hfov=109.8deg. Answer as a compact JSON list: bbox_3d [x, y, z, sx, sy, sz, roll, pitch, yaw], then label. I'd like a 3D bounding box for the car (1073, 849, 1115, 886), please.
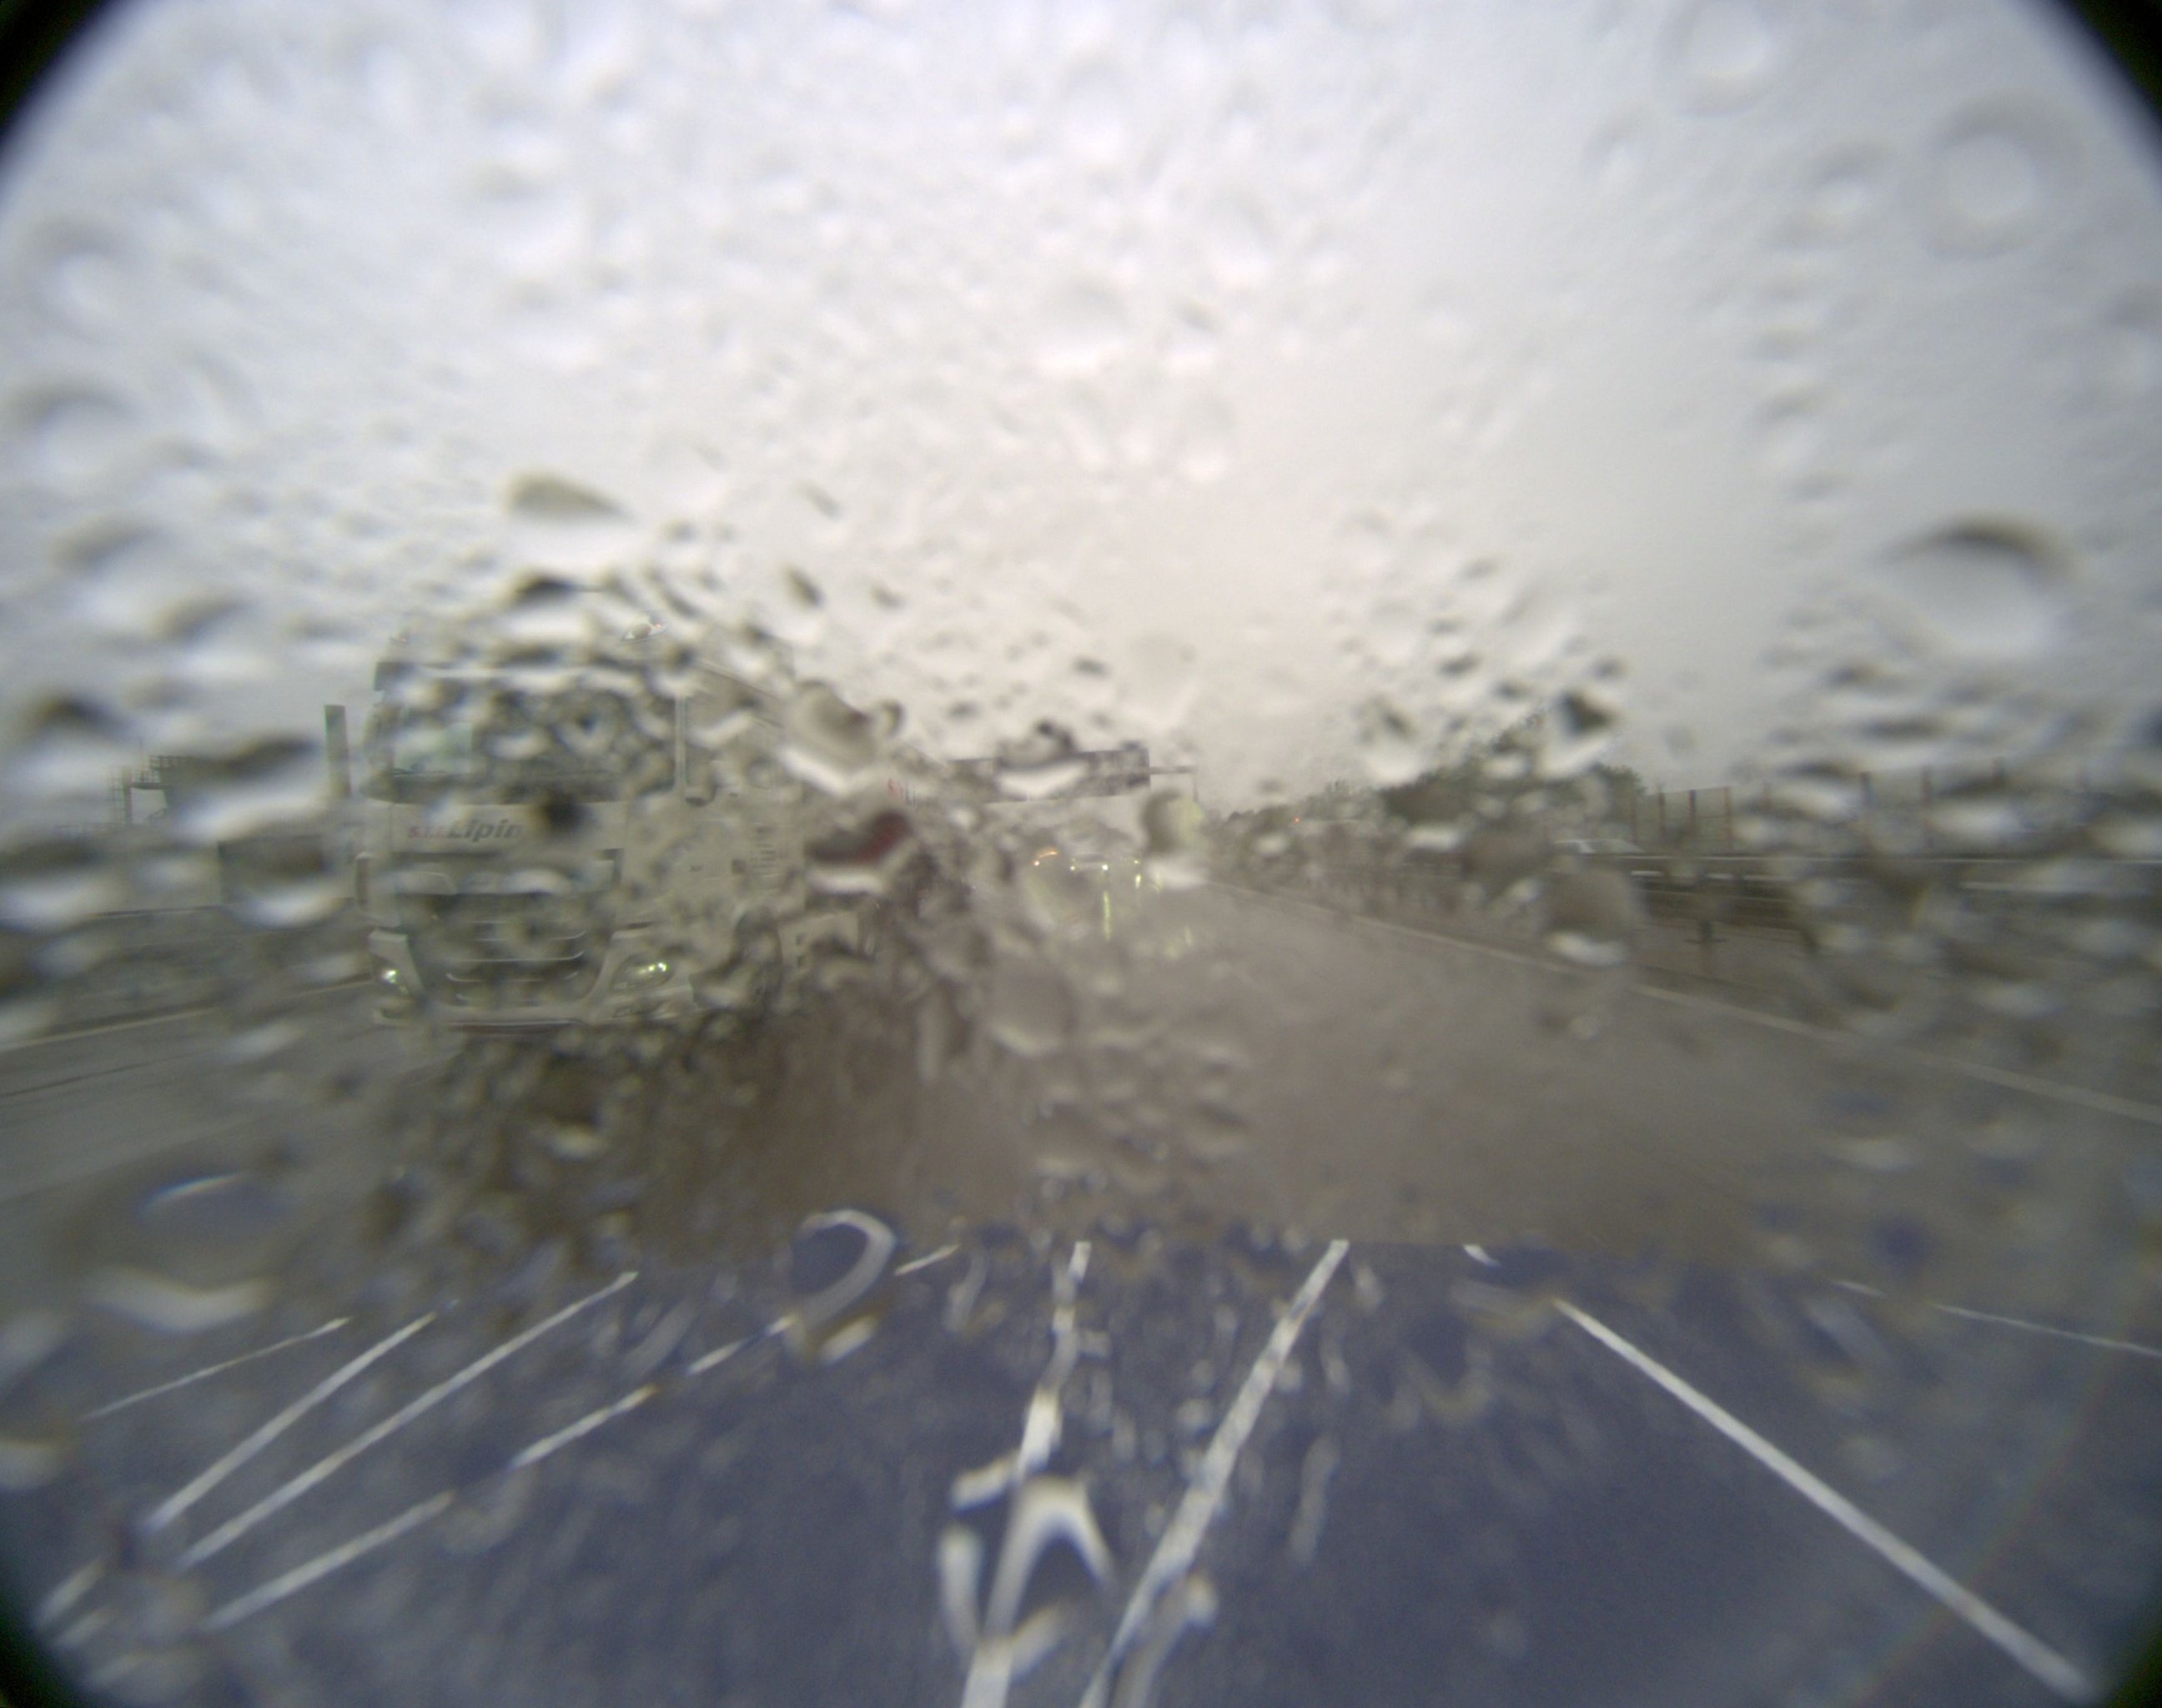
[{"bbox_3d":[0.658,0.596,35.901,1.751,1.545,4.090,-3,0,2],"label":"car"}]

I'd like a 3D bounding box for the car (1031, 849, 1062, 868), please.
[{"bbox_3d":[-3.423,0.438,75.904,2.463,1.736,5.720,-2,0,3],"label":"car"}]

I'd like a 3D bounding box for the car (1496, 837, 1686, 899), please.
[{"bbox_3d":[13.938,0.320,21.196,1.989,1.463,4.724,-2,1,-2],"label":"car"}]

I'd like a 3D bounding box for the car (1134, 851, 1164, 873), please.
[{"bbox_3d":[5.134,0.554,57.903,1.900,1.533,4.090,-2,0,0],"label":"car"}]

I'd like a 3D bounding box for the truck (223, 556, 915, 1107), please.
[{"bbox_3d":[-4.392,-0.173,8.972,3.112,3.784,7.211,-2,1,0],"label":"truck"}]

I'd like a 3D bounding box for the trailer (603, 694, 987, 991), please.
[{"bbox_3d":[-4.341,-0.178,15.458,3.196,3.649,11.665,-2,0,0],"label":"trailer"}]

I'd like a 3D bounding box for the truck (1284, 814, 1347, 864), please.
[{"bbox_3d":[18.123,-1.113,59.144,2.989,3.578,5.999,-2,1,0],"label":"truck"}]

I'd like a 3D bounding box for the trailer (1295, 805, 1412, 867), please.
[{"bbox_3d":[18.105,-1.105,51.939,3.080,3.591,13.569,-2,0,0],"label":"trailer"}]
